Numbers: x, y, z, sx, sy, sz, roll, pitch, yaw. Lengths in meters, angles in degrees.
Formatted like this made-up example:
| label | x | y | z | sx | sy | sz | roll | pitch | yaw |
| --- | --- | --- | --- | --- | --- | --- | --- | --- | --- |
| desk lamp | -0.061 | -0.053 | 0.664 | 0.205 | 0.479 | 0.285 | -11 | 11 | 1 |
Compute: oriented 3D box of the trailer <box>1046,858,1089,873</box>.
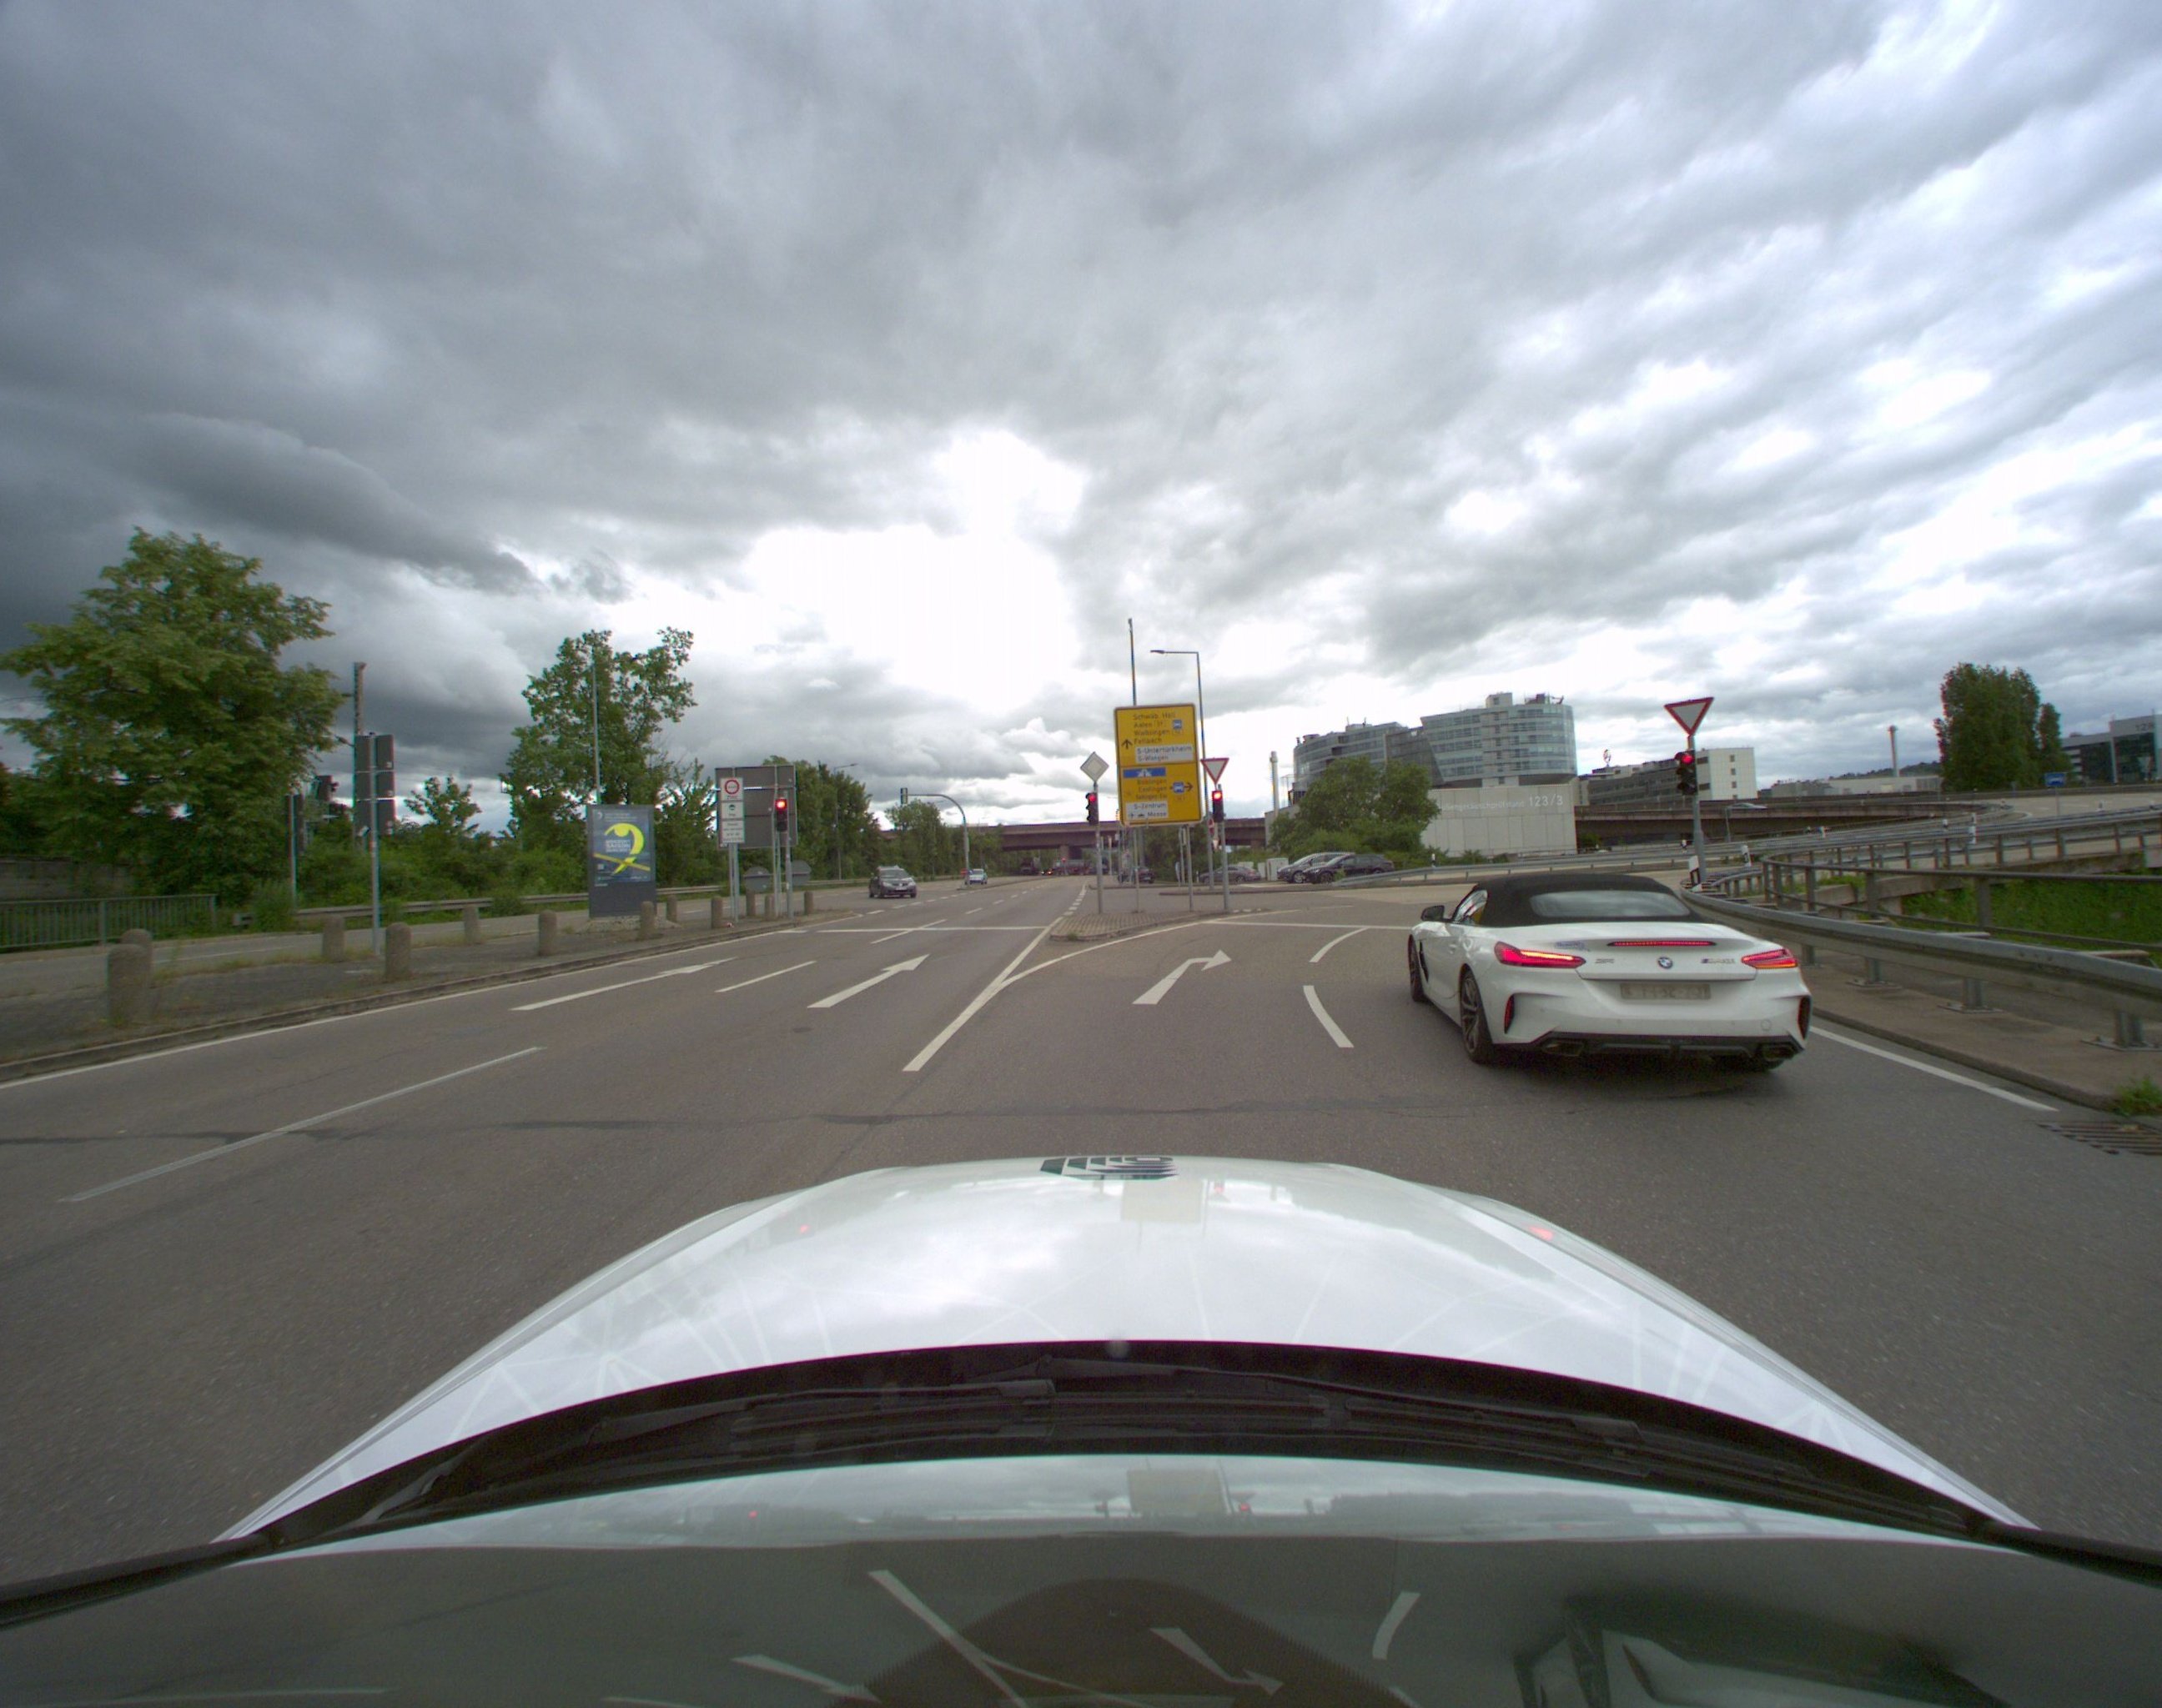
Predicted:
| label | x | y | z | sx | sy | sz | roll | pitch | yaw |
| --- | --- | --- | --- | --- | --- | --- | --- | --- | --- |
| trailer | -2.800 | 2.313 | 162.522 | 8.460 | 2.624 | 2.626 | 2 | -1 | 32 |

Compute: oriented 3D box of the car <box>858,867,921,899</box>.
| label | x | y | z | sx | sy | sz | roll | pitch | yaw |
| --- | --- | --- | --- | --- | --- | --- | --- | --- | --- |
| car | -9.459 | 1.471 | 39.996 | 1.736 | 1.462 | 4.200 | 1 | -4 | -32 |

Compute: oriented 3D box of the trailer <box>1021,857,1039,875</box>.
| label | x | y | z | sx | sy | sz | roll | pitch | yaw |
| --- | --- | --- | --- | --- | --- | --- | --- | --- | --- |
| trailer | -12.133 | 2.832 | 194.754 | 2.860 | 4.084 | 11.434 | 0 | 0 | 3 |

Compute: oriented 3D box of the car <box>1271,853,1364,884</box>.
| label | x | y | z | sx | sy | sz | roll | pitch | yaw |
| --- | --- | --- | --- | --- | --- | --- | --- | --- | --- |
| car | 13.241 | 0.793 | 45.755 | 4.665 | 1.571 | 1.955 | -2 | 0 | -1 |

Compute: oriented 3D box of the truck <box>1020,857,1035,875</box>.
| label | x | y | z | sx | sy | sz | roll | pitch | yaw |
| --- | --- | --- | --- | --- | --- | --- | --- | --- | --- |
| truck | -12.393 | 2.787 | 189.237 | 2.860 | 4.084 | 6.491 | 0 | 0 | 3 |

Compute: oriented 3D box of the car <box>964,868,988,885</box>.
| label | x | y | z | sx | sy | sz | roll | pitch | yaw |
| --- | --- | --- | --- | --- | --- | --- | --- | --- | --- |
| car | -9.915 | 2.124 | 77.277 | 1.719 | 1.400 | 4.064 | -2 | -1 | -1 |

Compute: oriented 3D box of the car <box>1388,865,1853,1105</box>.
| label | x | y | z | sx | sy | sz | roll | pitch | yaw |
| --- | --- | --- | --- | --- | --- | --- | --- | --- | --- |
| car | 3.855 | 0.768 | 6.800 | 1.793 | 1.291 | 4.277 | -1 | 0 | 12 |

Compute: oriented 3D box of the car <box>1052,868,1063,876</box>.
| label | x | y | z | sx | sy | sz | roll | pitch | yaw |
| --- | --- | --- | --- | --- | --- | --- | --- | --- | --- |
| car | -5.485 | 4.142 | 186.879 | 1.984 | 1.860 | 4.006 | 1 | 0 | 5 |

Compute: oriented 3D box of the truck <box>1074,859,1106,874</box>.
| label | x | y | z | sx | sy | sz | roll | pitch | yaw |
| --- | --- | --- | --- | --- | --- | --- | --- | --- | --- |
| truck | 1.812 | 2.452 | 160.691 | 5.723 | 2.624 | 2.629 | 2 | -1 | 11 |

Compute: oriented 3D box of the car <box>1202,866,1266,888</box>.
| label | x | y | z | sx | sy | sz | roll | pitch | yaw |
| --- | --- | --- | --- | --- | --- | --- | --- | --- | --- |
| car | 11.044 | 1.680 | 58.805 | 4.056 | 1.442 | 2.012 | -3 | -3 | 34 |

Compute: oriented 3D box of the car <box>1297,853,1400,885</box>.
| label | x | y | z | sx | sy | sz | roll | pitch | yaw |
| --- | --- | --- | --- | --- | --- | --- | --- | --- | --- |
| car | 13.659 | 0.754 | 41.728 | 4.597 | 1.457 | 1.953 | -2 | 0 | -5 |

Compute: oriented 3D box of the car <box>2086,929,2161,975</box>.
| label | x | y | z | sx | sy | sz | roll | pitch | yaw |
| --- | --- | --- | --- | --- | --- | --- | --- | --- | --- |
| car | 47.181 | 4.320 | 35.481 | 1.823 | 1.637 | 3.846 | -3 | 0 | -13 |

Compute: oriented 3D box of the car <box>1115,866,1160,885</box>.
| label | x | y | z | sx | sy | sz | roll | pitch | yaw |
| --- | --- | --- | --- | --- | --- | --- | --- | --- | --- |
| car | 4.654 | 1.818 | 67.700 | 2.004 | 1.464 | 4.074 | 0 | -3 | -26 |

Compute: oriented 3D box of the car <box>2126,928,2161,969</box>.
| label | x | y | z | sx | sy | sz | roll | pitch | yaw |
| --- | --- | --- | --- | --- | --- | --- | --- | --- | --- |
| car | 49.385 | 4.285 | 35.768 | 1.823 | 1.637 | 3.846 | -3 | 0 | -13 |

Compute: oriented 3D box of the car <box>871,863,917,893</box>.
| label | x | y | z | sx | sy | sz | roll | pitch | yaw |
| --- | --- | --- | --- | --- | --- | --- | --- | --- | --- |
| car | -11.871 | 1.502 | 52.026 | 1.718 | 1.737 | 4.556 | -2 | -1 | 1 |
